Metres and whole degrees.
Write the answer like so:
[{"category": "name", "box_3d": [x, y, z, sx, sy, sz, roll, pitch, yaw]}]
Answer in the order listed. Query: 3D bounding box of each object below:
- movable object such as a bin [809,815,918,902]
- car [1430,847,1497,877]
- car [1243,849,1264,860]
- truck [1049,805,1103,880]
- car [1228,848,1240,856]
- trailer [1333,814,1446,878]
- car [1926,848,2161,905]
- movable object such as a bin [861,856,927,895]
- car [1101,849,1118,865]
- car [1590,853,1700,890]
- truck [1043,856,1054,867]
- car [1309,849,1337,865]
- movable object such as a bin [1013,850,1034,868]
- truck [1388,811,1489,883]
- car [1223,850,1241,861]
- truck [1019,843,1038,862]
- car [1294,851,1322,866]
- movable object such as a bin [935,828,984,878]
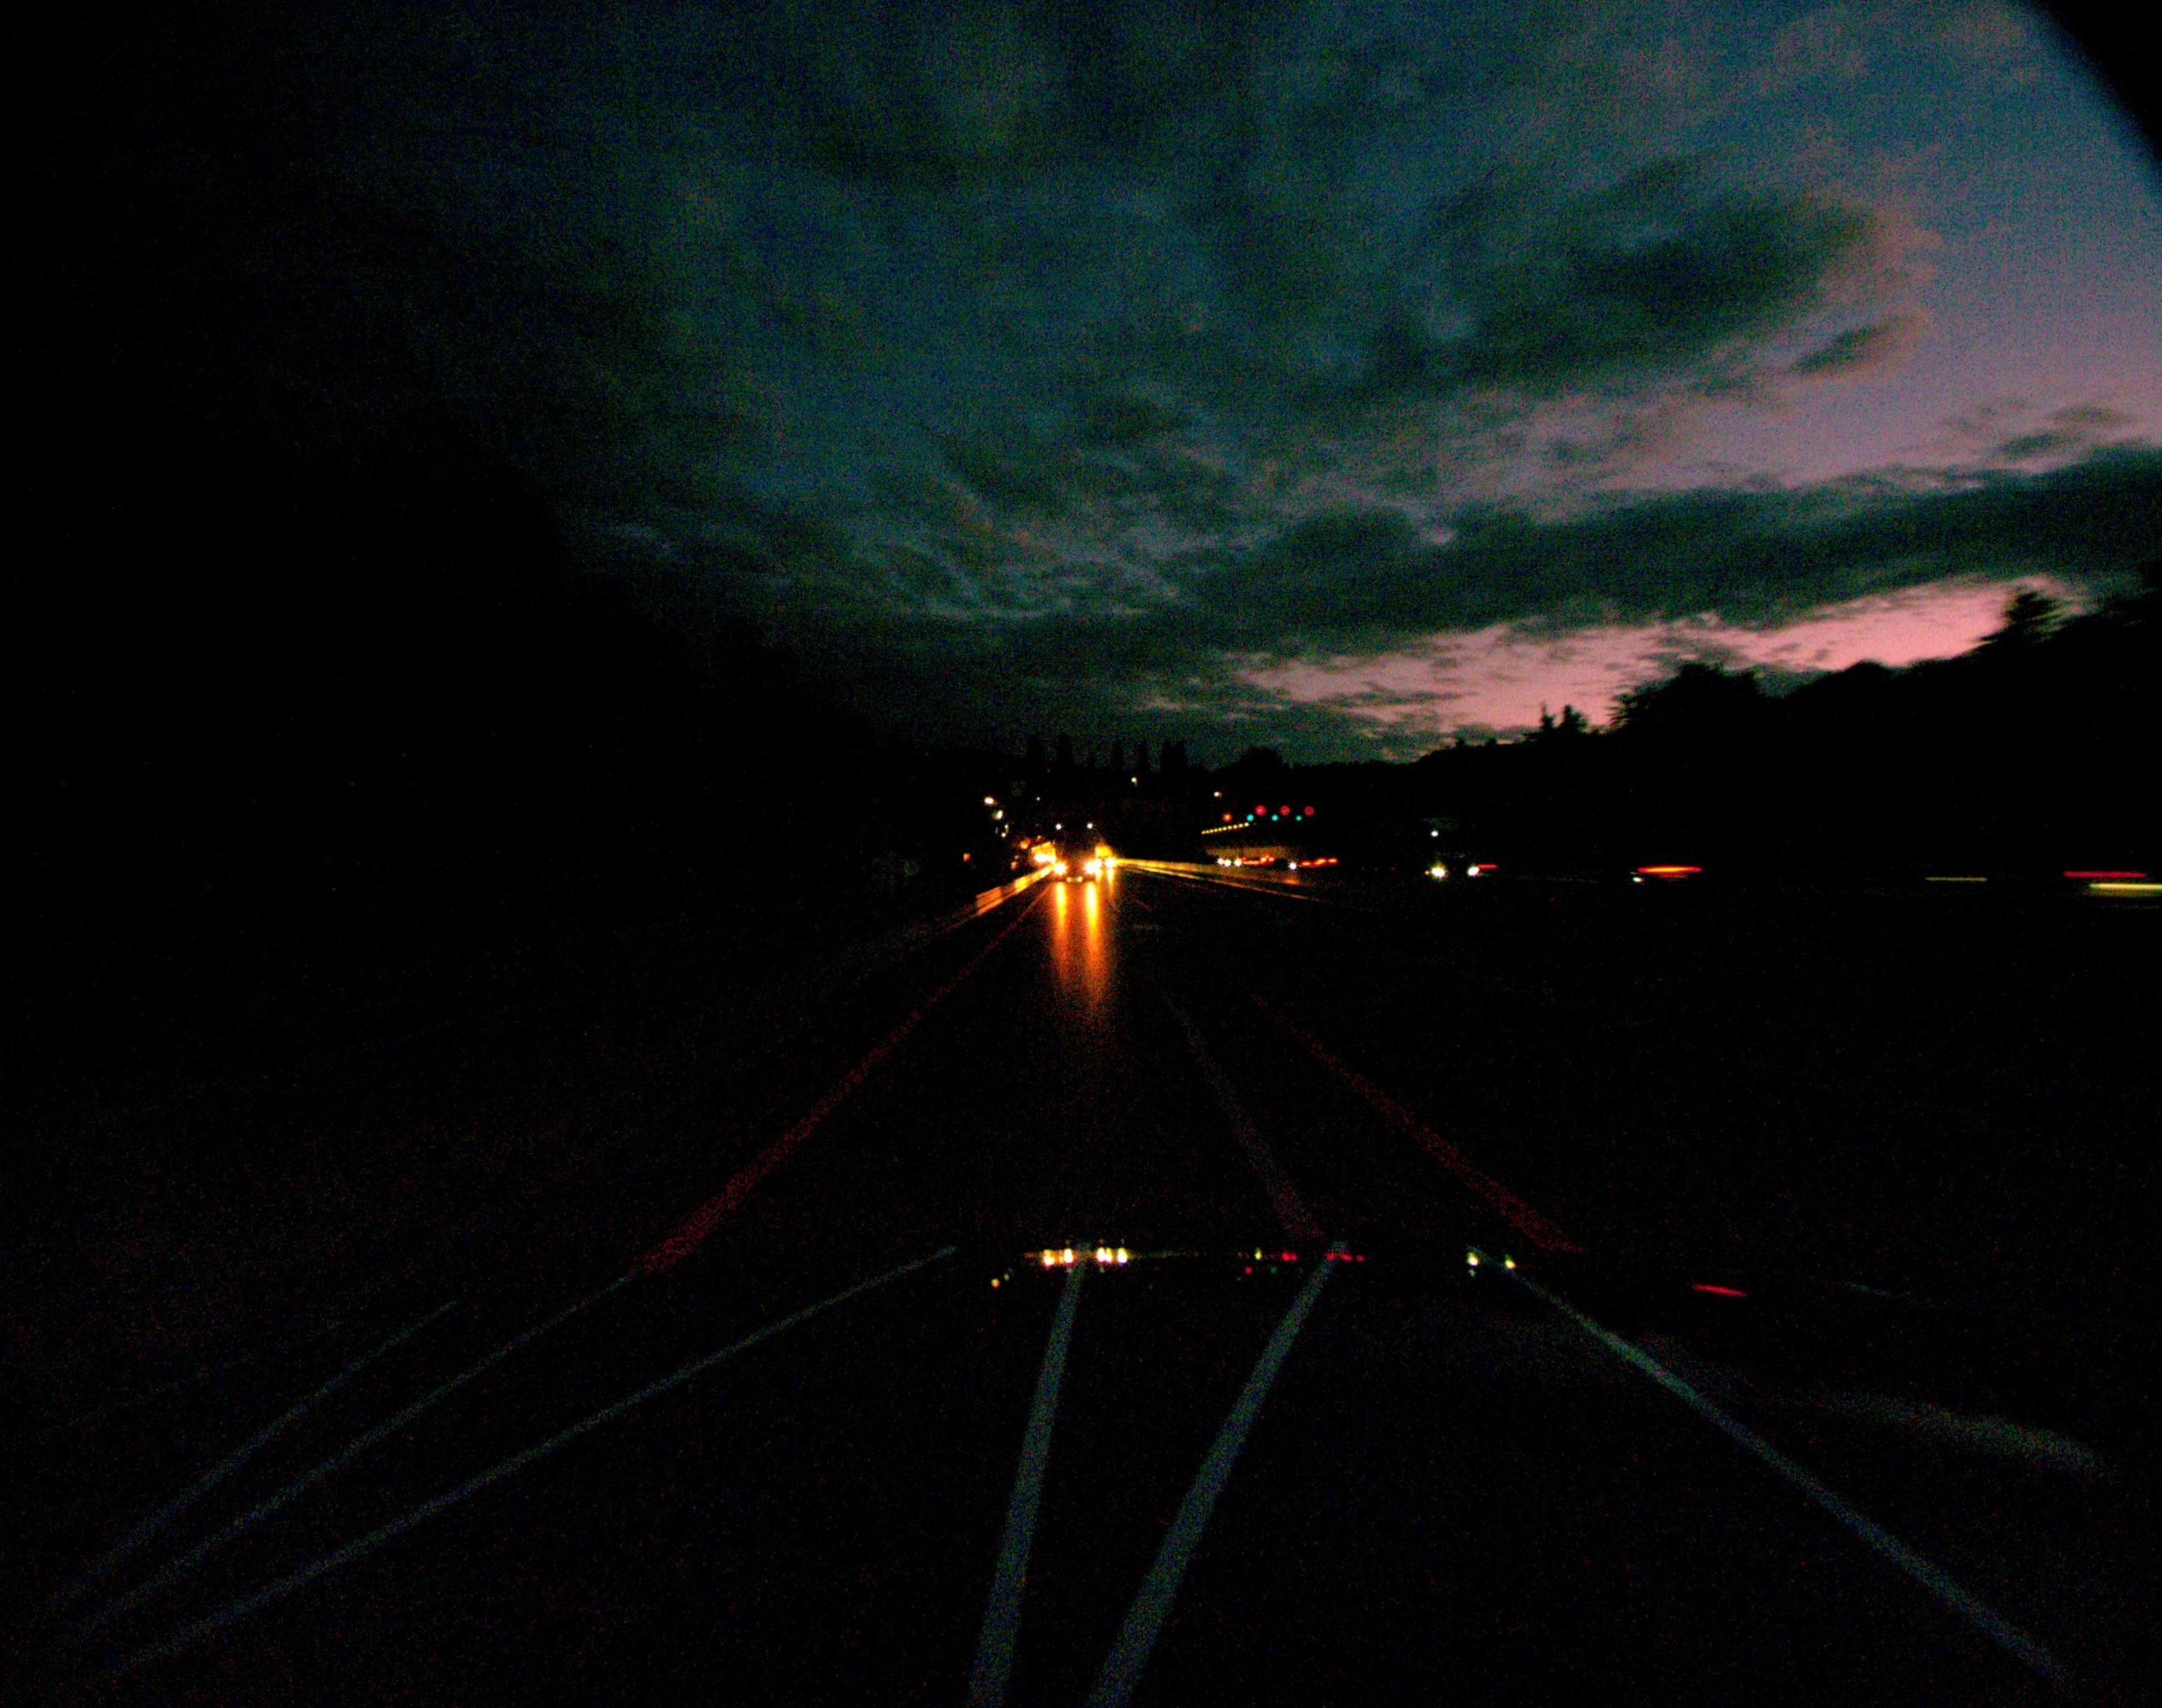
[{"category": "movable object such as a bin", "box_3d": [-8.392, 0.124, 30.008, 2.627, 3.090, 5.804, -1, 1, -1]}, {"category": "car", "box_3d": [24.323, 0.463, 48.513, 1.905, 1.728, 4.807, -3, 1, 2]}, {"category": "car", "box_3d": [25.241, 0.050, 111.426, 1.811, 1.579, 4.876, -3, 1, 0]}, {"category": "truck", "box_3d": [-0.280, -0.739, 50.215, 2.954, 4.241, 11.051, -3, 1, 0]}, {"category": "car", "box_3d": [30.598, -0.388, 151.855, 1.580, 1.461, 4.095, -3, 1, 2]}, {"category": "trailer", "box_3d": [20.670, -0.556, 52.017, 2.806, 3.761, 11.833, -3, 1, 0]}, {"category": "car", "box_3d": [29.612, 0.608, 23.491, 1.830, 1.476, 4.701, -3, 1, 2]}, {"category": "movable object such as a bin", "box_3d": [-8.527, 0.929, 34.983, 1.998, 1.592, 4.084, 0, 1, 0]}, {"category": "car", "box_3d": [3.134, 0.357, 83.171, 1.662, 1.586, 3.997, -3, 1, 5]}, {"category": "car", "box_3d": [26.729, 0.789, 36.238, 1.815, 1.476, 4.701, -3, 1, 2]}, {"category": "truck", "box_3d": [-9.144, 2.211, 214.185, 1.997, 2.817, 6.297, -3, 1, 6]}, {"category": "car", "box_3d": [28.192, 0.269, 88.732, 1.755, 1.712, 4.669, -3, 1, 0]}, {"category": "movable object such as a bin", "box_3d": [-9.536, 0.785, 126.502, 2.978, 2.811, 7.193, -3, 1, -2]}, {"category": "truck", "box_3d": [20.666, -0.429, 44.339, 2.810, 3.753, 6.301, -3, 1, 0]}, {"category": "car", "box_3d": [21.420, 0.228, 107.730, 1.791, 1.472, 4.000, -3, 1, 2]}, {"category": "truck", "box_3d": [-9.479, -0.338, 137.506, 2.825, 3.267, 8.351, -3, 1, 0]}, {"category": "car", "box_3d": [25.102, 0.472, 84.162, 1.755, 1.446, 4.670, -3, 1, 2]}, {"category": "movable object such as a bin", "box_3d": [-8.462, -0.085, 53.351, 2.571, 3.299, 5.577, 0, 1, -1]}]
